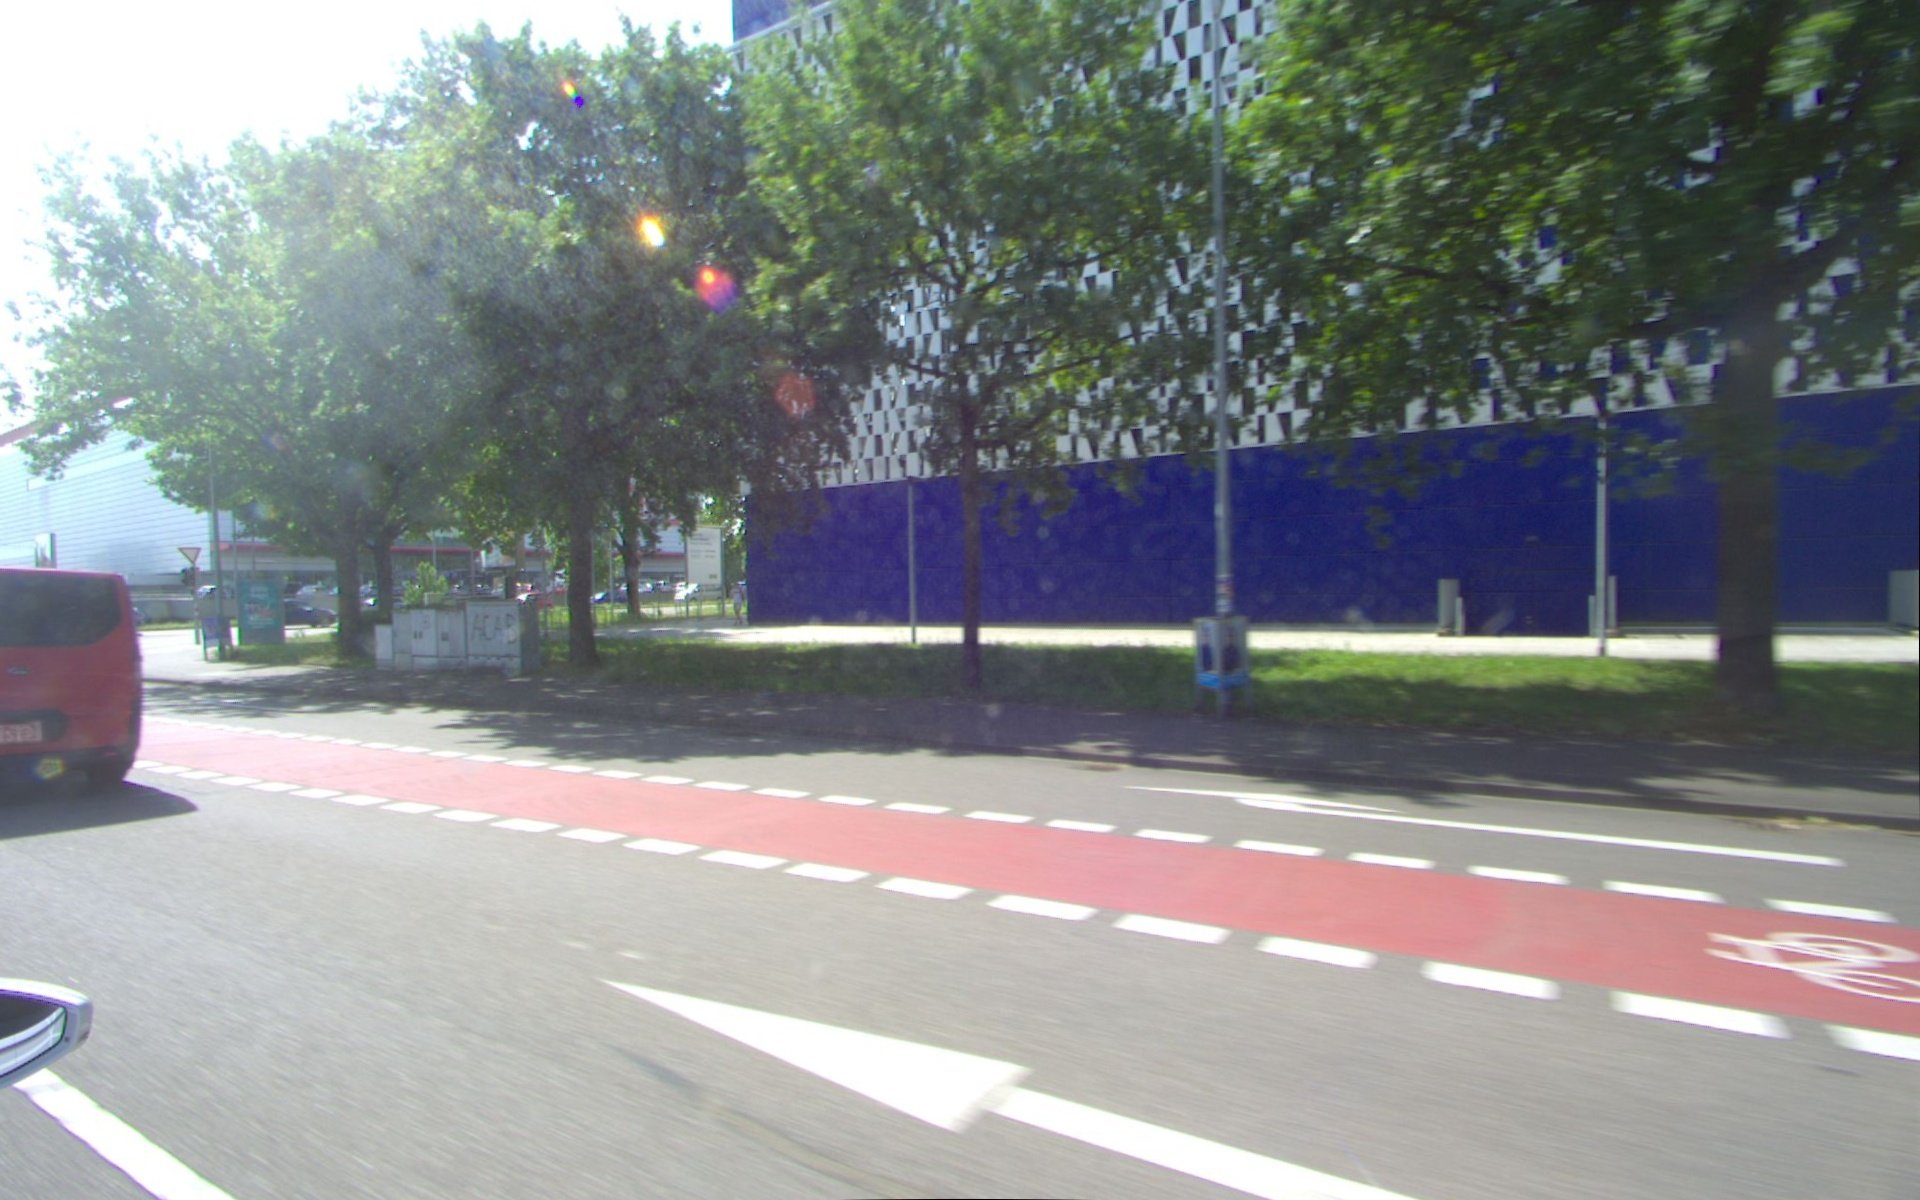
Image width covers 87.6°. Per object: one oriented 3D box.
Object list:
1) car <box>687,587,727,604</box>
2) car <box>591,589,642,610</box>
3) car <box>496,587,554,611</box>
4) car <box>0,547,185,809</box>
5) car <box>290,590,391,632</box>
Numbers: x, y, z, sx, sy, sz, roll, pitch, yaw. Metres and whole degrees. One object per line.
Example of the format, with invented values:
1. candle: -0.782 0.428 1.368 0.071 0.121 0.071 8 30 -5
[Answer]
1. car: -22.450 -0.400 88.863 1.289 1.285 3.278 0 3 40
2. car: -28.185 -0.049 82.265 1.462 1.540 3.756 0 3 37
3. car: -32.664 -0.092 75.264 1.462 1.540 3.756 0 3 37
4. car: -9.305 0.615 9.147 5.052 1.993 1.963 0 0 33
5. car: -33.823 0.554 54.752 1.461 2.022 4.386 0 3 35
